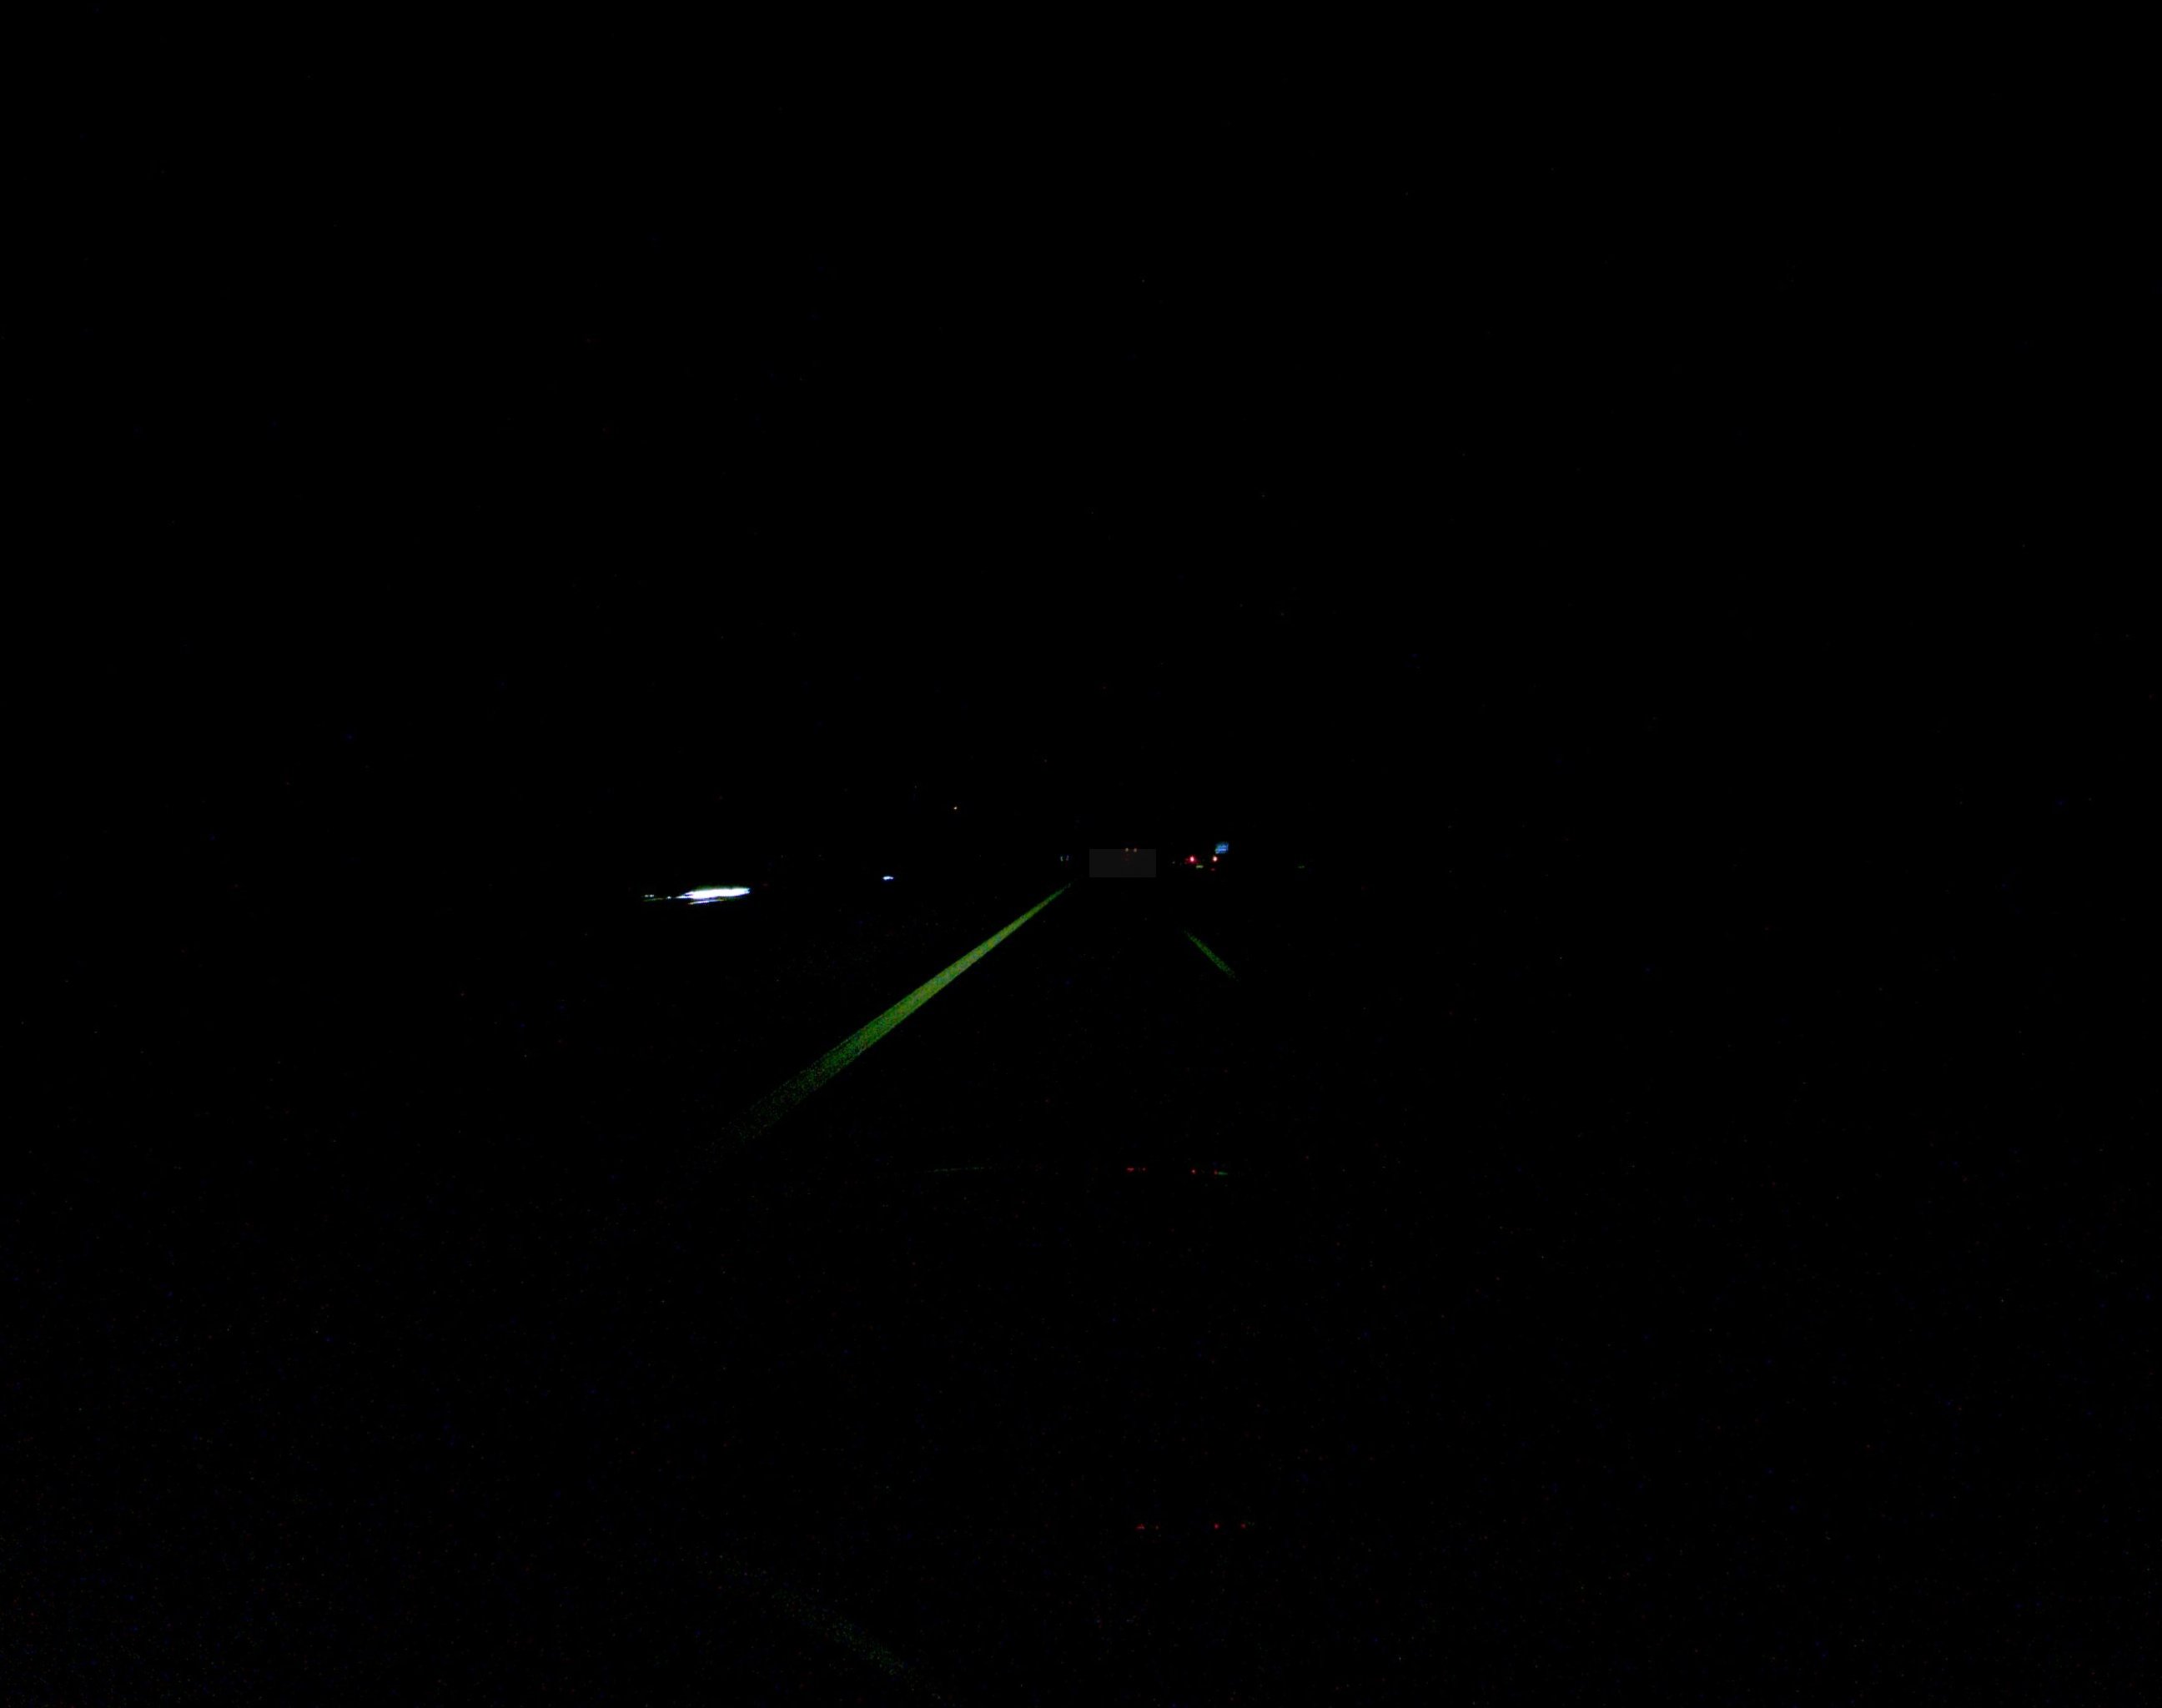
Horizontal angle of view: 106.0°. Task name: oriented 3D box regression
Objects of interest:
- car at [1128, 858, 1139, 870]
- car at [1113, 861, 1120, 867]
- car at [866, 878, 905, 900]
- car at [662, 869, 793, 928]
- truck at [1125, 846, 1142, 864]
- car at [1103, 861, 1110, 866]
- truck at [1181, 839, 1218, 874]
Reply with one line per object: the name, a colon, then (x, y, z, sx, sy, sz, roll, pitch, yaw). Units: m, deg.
car: (6.479, 1.177, 100.536, 1.340, 1.387, 3.504, 0, 1, 3)
car: (9.160, 2.478, 208.901, 1.813, 1.466, 4.251, 0, 1, 3)
car: (-14.014, 2.488, 58.719, 1.632, 1.551, 4.471, 0, -2, 1)
car: (-11.065, 1.340, 25.985, 1.785, 1.684, 5.170, 0, -2, 1)
truck: (10.321, 0.151, 160.678, 3.032, 3.324, 10.149, 0, 1, 3)
car: (7.549, 2.731, 240.059, 1.813, 1.466, 4.251, 0, 1, 3)
truck: (9.504, 0.291, 66.002, 2.069, 2.691, 7.307, 0, -2, 1)
